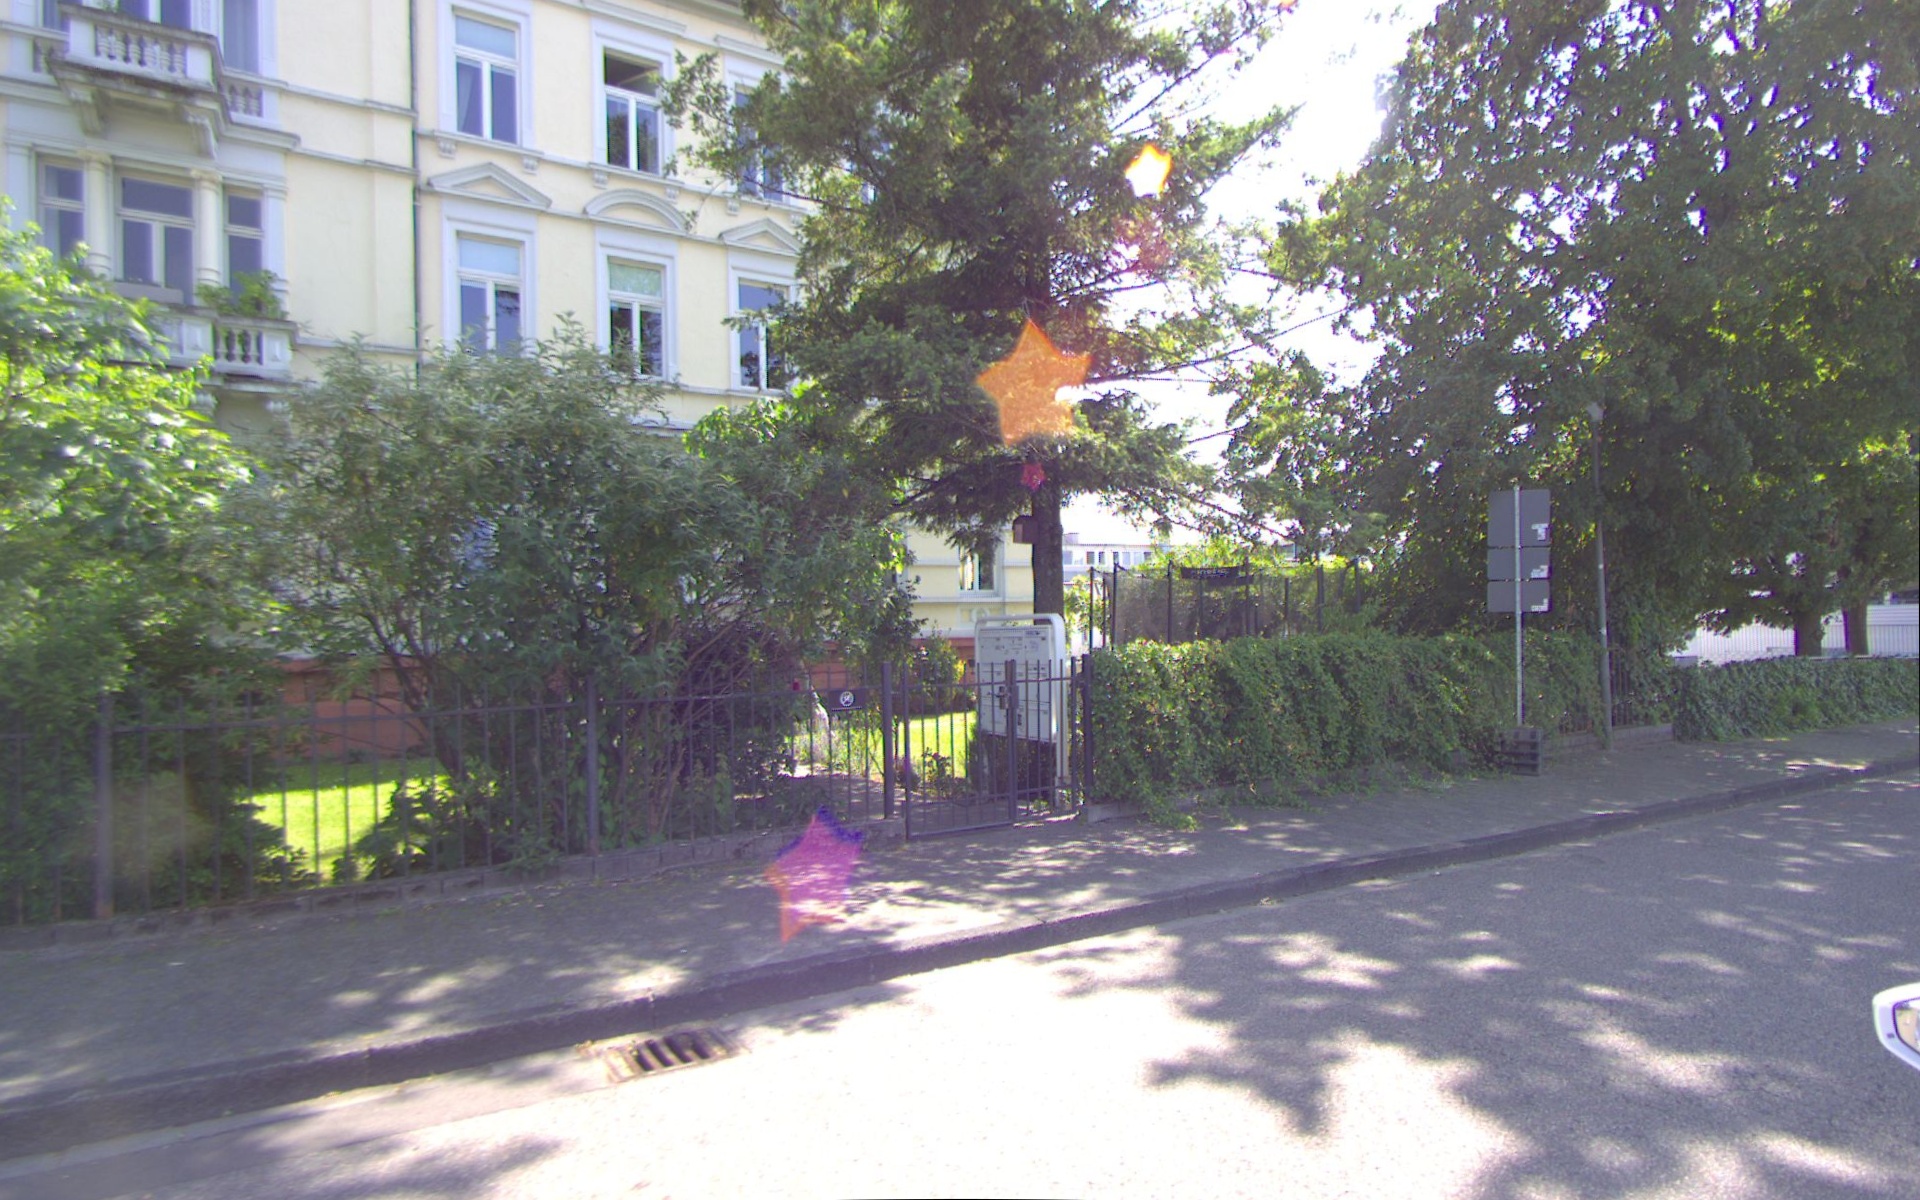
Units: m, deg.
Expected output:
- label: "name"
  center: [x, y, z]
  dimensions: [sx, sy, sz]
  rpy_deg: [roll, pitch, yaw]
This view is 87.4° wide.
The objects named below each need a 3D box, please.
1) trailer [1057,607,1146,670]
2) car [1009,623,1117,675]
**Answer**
- label: "trailer"
  center: [9.453, 2.664, 67.861]
  dimensions: [2.718, 4.046, 6.845]
  rpy_deg: [0, -3, -24]
- label: "car"
  center: [6.065, 2.852, 59.322]
  dimensions: [5.848, 2.914, 2.431]
  rpy_deg: [0, -3, -23]
